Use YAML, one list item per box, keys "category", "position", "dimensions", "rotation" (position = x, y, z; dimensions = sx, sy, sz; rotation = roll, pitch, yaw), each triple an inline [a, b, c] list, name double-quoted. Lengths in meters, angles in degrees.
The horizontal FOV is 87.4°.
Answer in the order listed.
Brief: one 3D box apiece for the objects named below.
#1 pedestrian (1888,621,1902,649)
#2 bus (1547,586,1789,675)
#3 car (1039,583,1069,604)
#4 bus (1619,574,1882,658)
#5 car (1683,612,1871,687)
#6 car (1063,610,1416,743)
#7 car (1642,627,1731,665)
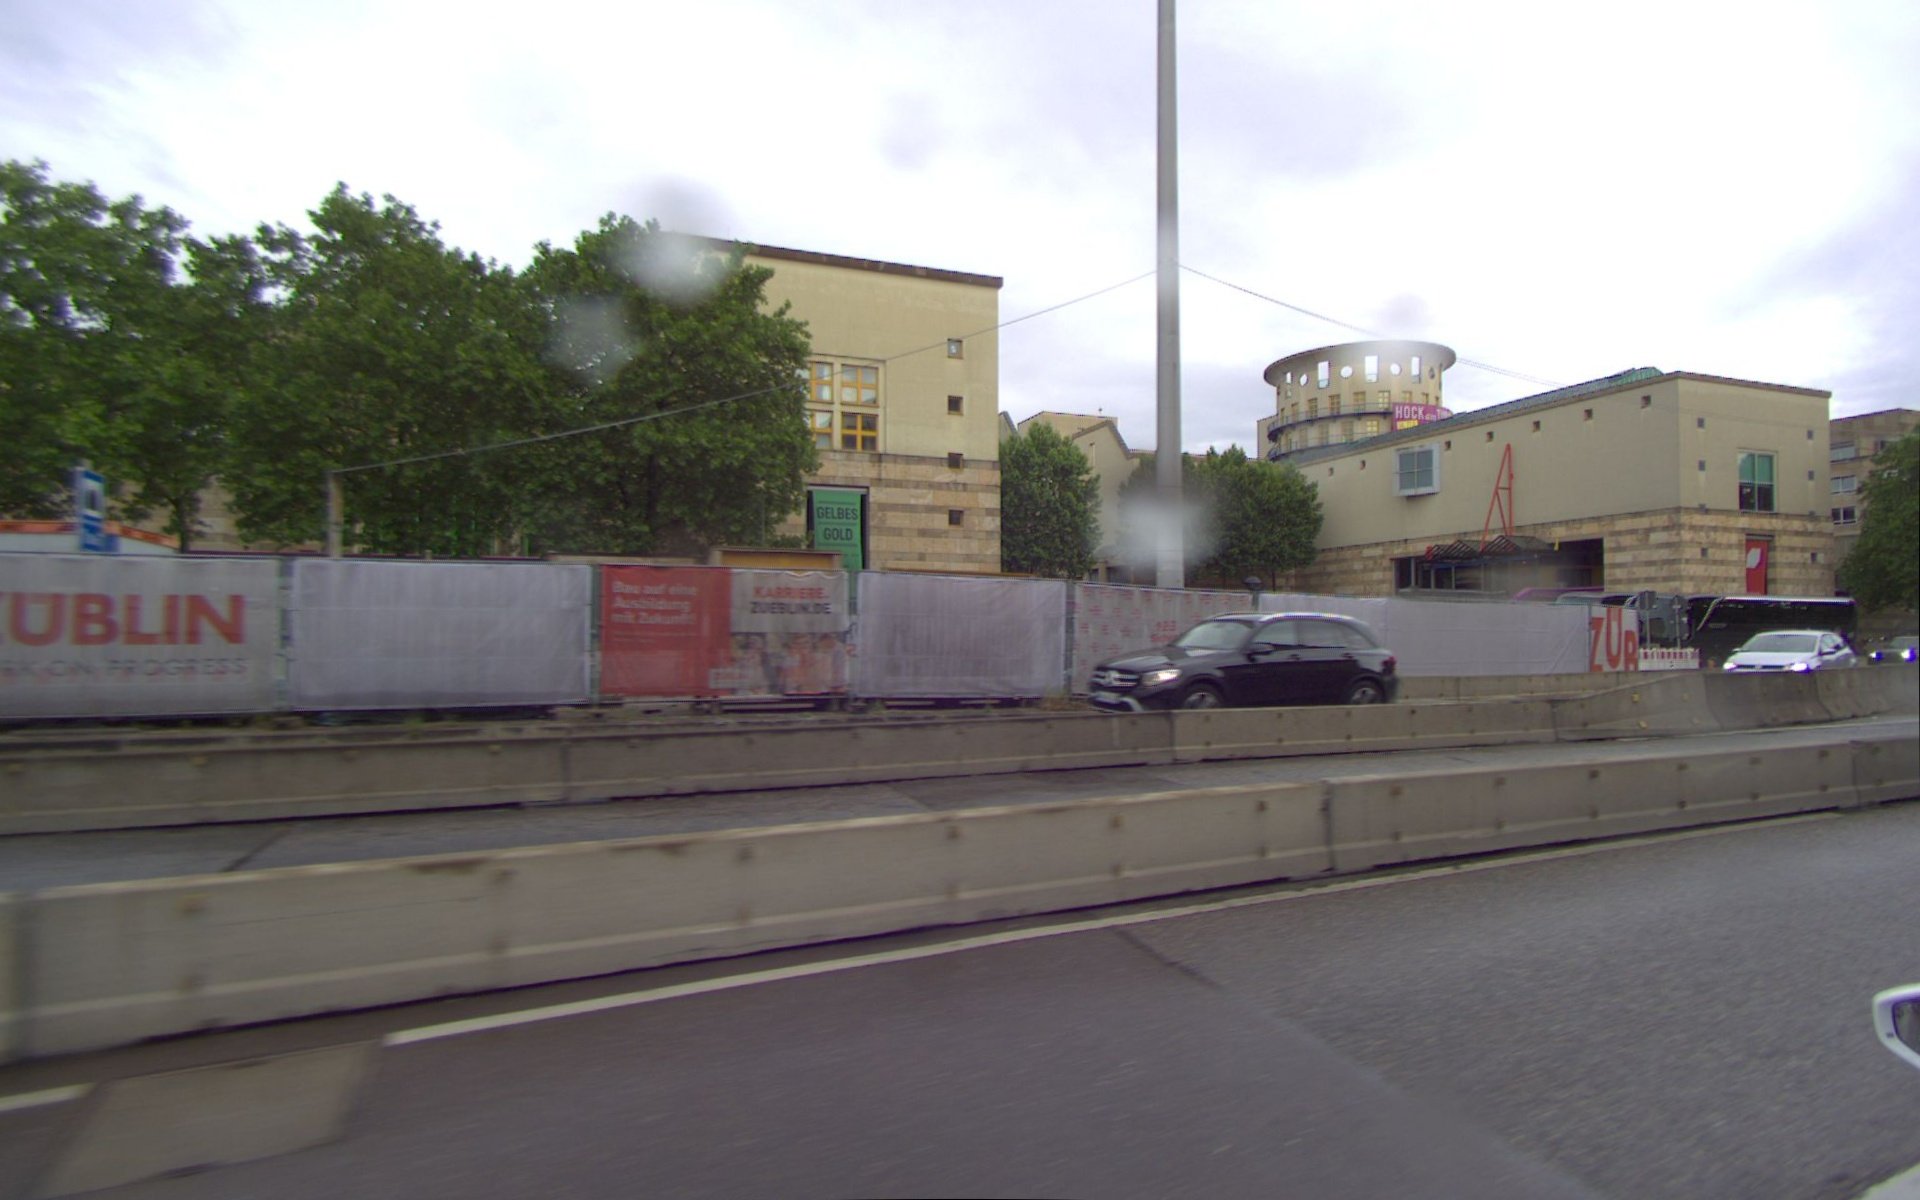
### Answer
- category: "pedestrian"
  position: [68.148, 2.533, 73.188]
  dimensions: [0.504, 2.039, 0.477]
  rotation: [1, -3, -21]
- category: "bus"
  position: [36.936, 1.475, 52.269]
  dimensions: [13.282, 4.309, 3.116]
  rotation: [0, 0, -19]
- category: "car"
  position: [10.407, -0.666, 111.271]
  dimensions: [1.968, 2.039, 3.987]
  rotation: [1, -4, -17]
- category: "bus"
  position: [39.195, 0.738, 49.646]
  dimensions: [14.366, 3.862, 2.802]
  rotation: [0, 0, -19]
- category: "car"
  position: [18.460, 1.076, 22.676]
  dimensions: [3.952, 1.550, 1.985]
  rotation: [0, -2, -30]
- category: "car"
  position: [3.894, 0.939, 13.795]
  dimensions: [4.703, 1.550, 1.912]
  rotation: [0, -2, -30]
- category: "car"
  position: [30.182, 1.916, 41.744]
  dimensions: [3.170, 1.519, 1.588]
  rotation: [1, -4, -25]
